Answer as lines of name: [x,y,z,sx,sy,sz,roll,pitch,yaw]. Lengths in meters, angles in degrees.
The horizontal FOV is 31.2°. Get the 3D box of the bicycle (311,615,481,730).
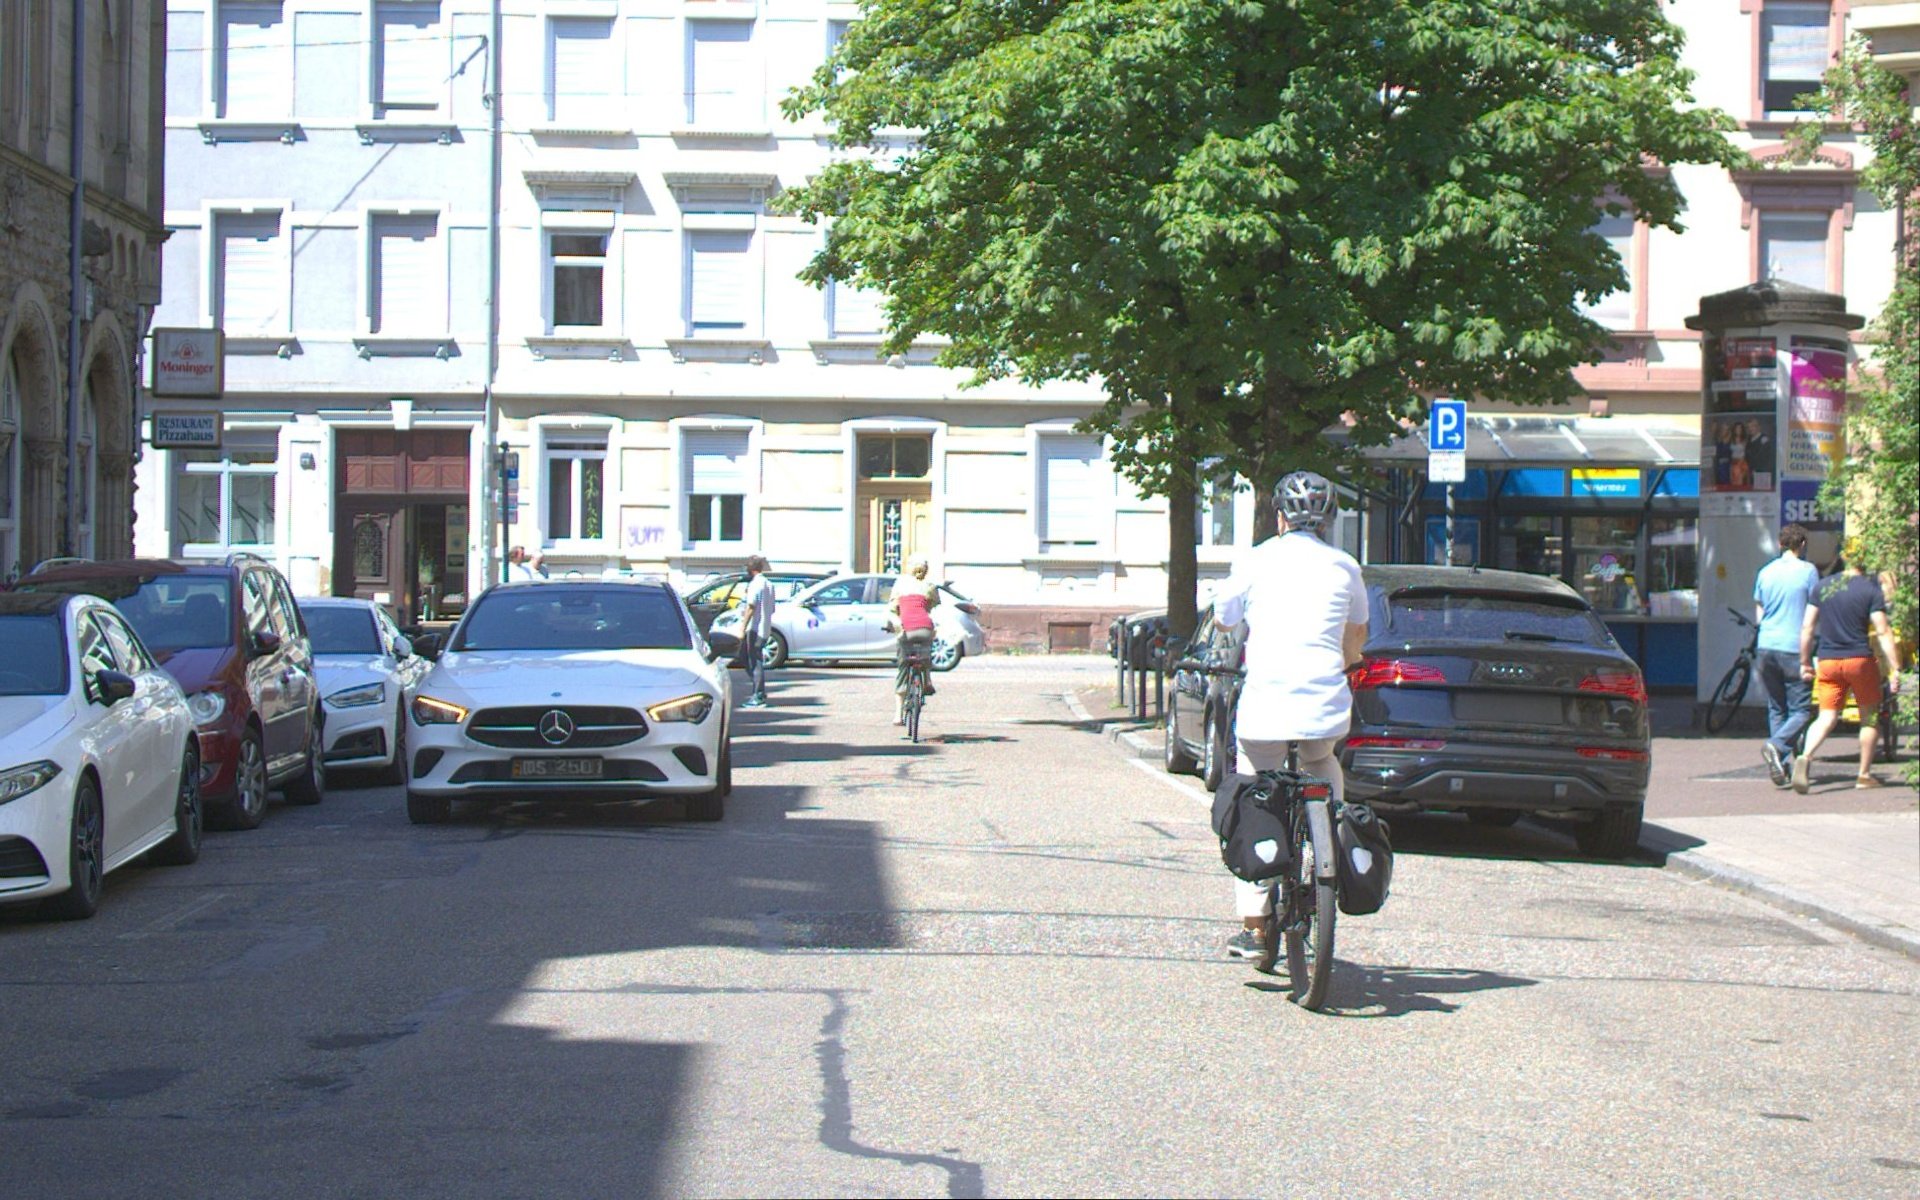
bicycle: [-5.374,0.690,32.804,1.524,1.004,0.367,3,0,-6]

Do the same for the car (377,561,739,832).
car: [-2.366,0.522,21.219,1.841,1.456,4.363,-1,0,-2]

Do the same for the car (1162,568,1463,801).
car: [2.569,0.570,25.939,1.663,1.535,4.178,3,0,-2]

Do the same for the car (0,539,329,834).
car: [-4.917,0.465,20.733,1.672,1.577,4.053,-1,0,-3]

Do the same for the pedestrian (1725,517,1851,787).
pedestrian: [5.790,0.362,24.060,0.651,1.862,0.520,1,0,-20]

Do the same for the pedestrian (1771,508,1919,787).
pedestrian: [6.093,0.322,23.441,0.880,1.873,0.601,1,0,-20]

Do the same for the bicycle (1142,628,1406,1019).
bicycle: [1.097,0.745,12.520,0.652,1.224,2.441,2,0,-1]

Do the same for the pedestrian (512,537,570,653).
pedestrian: [-6.595,-0.078,54.166,0.901,1.808,0.960,0,0,-7]

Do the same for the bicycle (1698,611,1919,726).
bicycle: [7.748,0.618,31.351,1.900,1.035,0.634,0,0,-1]

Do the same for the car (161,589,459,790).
car: [-4.846,0.611,26.160,1.701,1.348,4.516,-1,0,-4]

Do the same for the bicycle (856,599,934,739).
bicycle: [-0.592,0.612,31.797,0.652,1.205,2.441,2,0,-1]

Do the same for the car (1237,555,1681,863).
car: [2.885,0.576,20.820,1.735,1.591,4.348,3,0,-3]

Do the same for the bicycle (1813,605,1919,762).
bicycle: [7.406,0.628,27.218,0.795,1.165,2.575,0,0,25]

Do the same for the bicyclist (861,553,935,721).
bicyclist: [-0.567,0.337,31.760,0.670,1.528,0.609,0,0,-1]

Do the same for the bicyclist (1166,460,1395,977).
bicyclist: [1.124,0.408,12.168,0.670,1.754,0.609,3,0,-1]

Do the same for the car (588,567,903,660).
car: [-3.353,0.208,54.288,4.859,1.432,2.000,0,0,-2]

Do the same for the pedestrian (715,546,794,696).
pedestrian: [-2.303,0.228,38.617,0.857,1.666,0.774,0,0,-1]

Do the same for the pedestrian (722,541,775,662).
pedestrian: [-3.257,0.024,52.983,0.724,1.847,0.685,0,0,-11]

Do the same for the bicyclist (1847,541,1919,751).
bicyclist: [7.422,0.356,27.226,0.678,1.642,0.661,0,0,22]

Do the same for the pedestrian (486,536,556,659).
pedestrian: [-6.792,-0.046,53.230,0.850,1.882,0.935,0,0,9]

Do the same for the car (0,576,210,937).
car: [-4.728,0.641,15.980,1.776,1.455,4.279,-1,0,-4]

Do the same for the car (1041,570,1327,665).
car: [3.466,0.266,53.787,4.294,1.365,1.807,0,3,-2]
